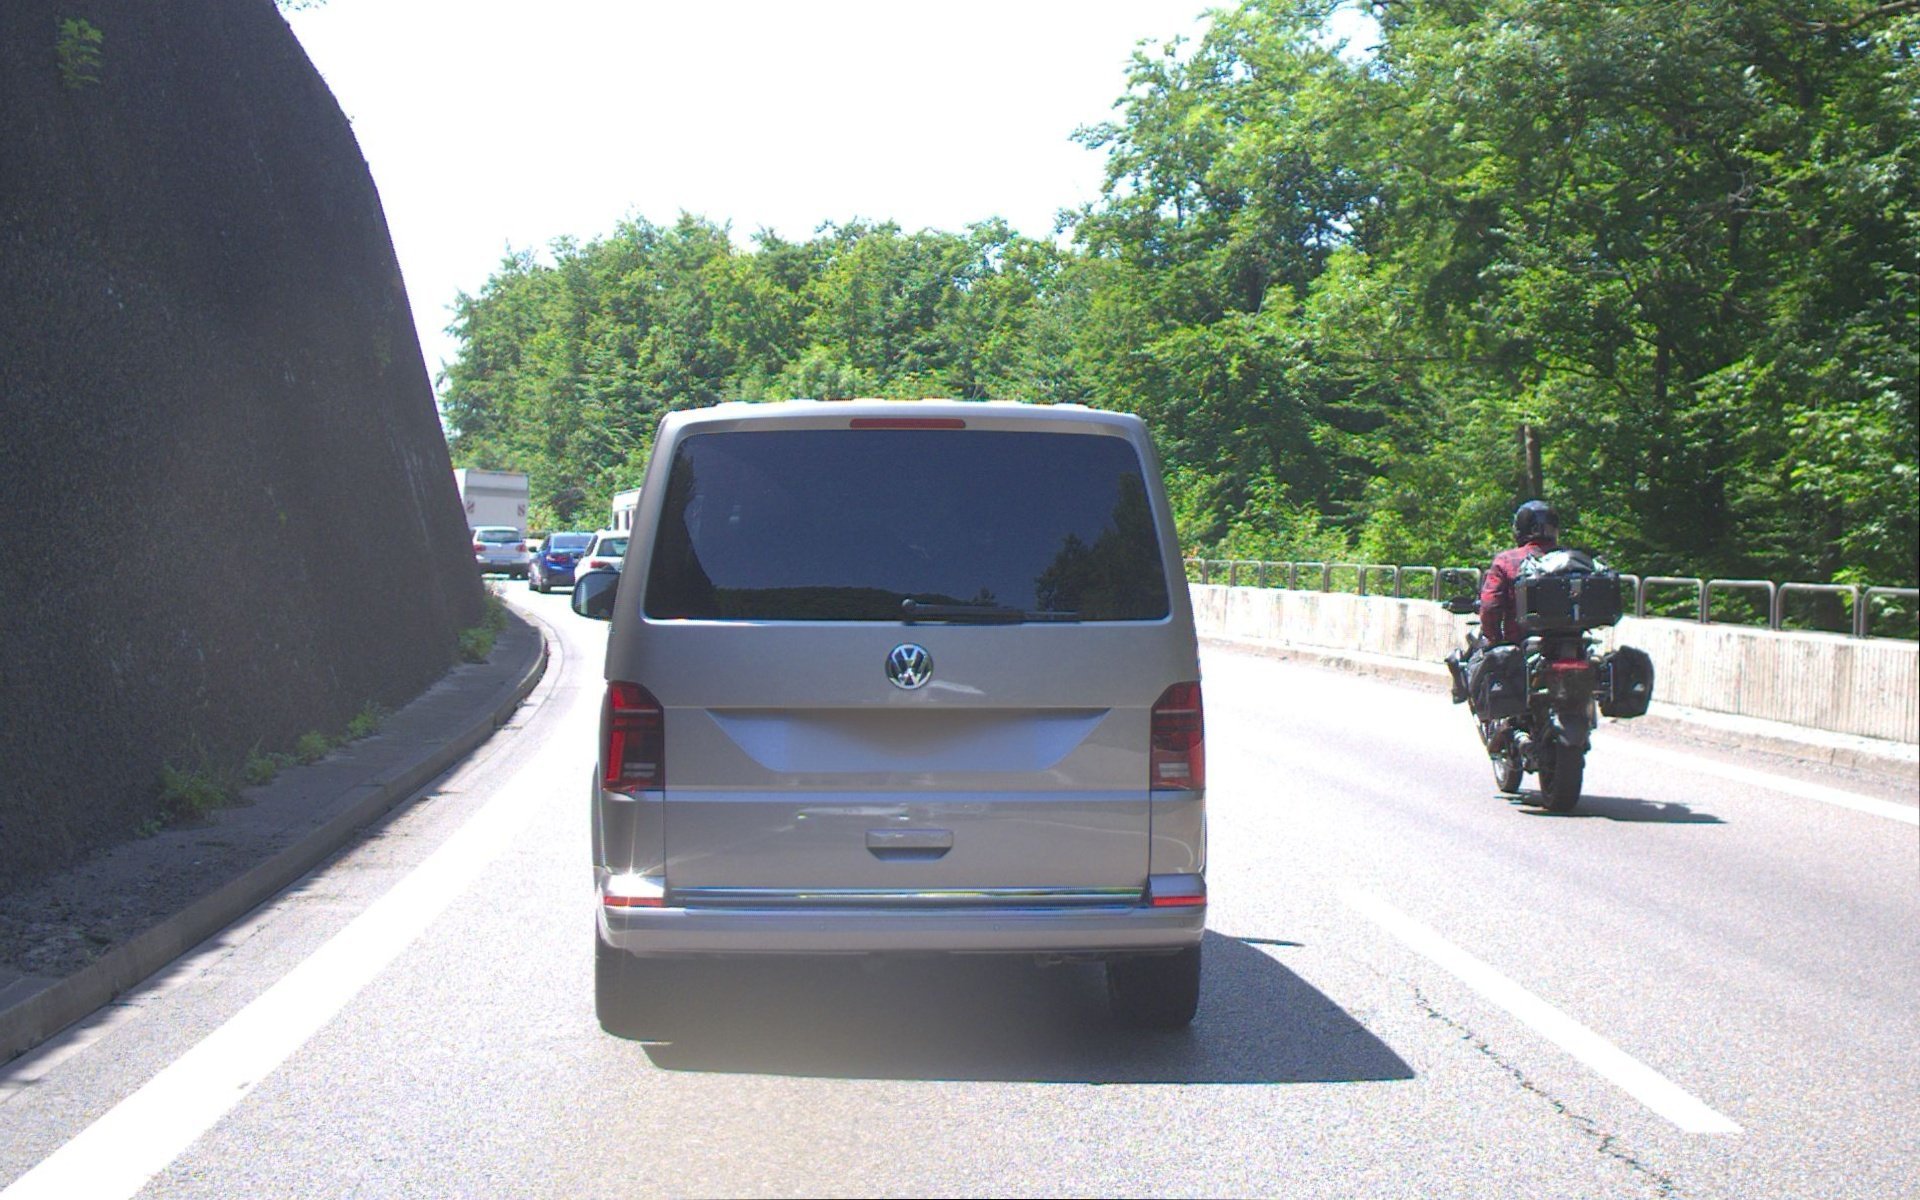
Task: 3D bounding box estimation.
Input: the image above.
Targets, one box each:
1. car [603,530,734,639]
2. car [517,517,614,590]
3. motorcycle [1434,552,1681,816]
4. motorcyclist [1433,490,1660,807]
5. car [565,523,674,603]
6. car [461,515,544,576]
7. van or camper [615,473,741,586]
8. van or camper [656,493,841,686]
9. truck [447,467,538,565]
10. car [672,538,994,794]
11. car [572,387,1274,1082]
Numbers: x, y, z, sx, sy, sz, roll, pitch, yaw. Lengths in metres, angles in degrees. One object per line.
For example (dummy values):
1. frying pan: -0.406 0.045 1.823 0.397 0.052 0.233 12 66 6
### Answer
1. car: -4.202 -0.250 49.533 1.771 1.467 4.001 1 1 -5
2. car: -9.375 -1.118 81.405 1.857 1.614 4.001 2 1 -12
3. motorcycle: 3.470 0.441 20.244 0.972 1.415 2.681 2 1 1
4. motorcyclist: 3.466 0.266 20.439 1.060 1.794 1.338 2 1 0
5. car: -6.811 -0.758 68.419 1.862 1.481 4.001 2 1 -9
6. car: -12.864 -1.542 96.478 1.993 1.612 4.001 1 1 -11
7. van or camper: -7.997 -2.025 96.840 2.603 2.845 6.338 5 1 -11
8. van or camper: -2.282 -0.144 37.053 1.853 1.935 4.166 1 1 -4
9. truck: -18.525 -3.329 135.923 2.924 3.674 7.727 2 1 -12
10. car: -0.938 0.368 23.229 1.904 1.484 4.380 3 1 -4
11. car: -0.281 0.344 12.104 1.940 1.924 4.695 2 1 -4
